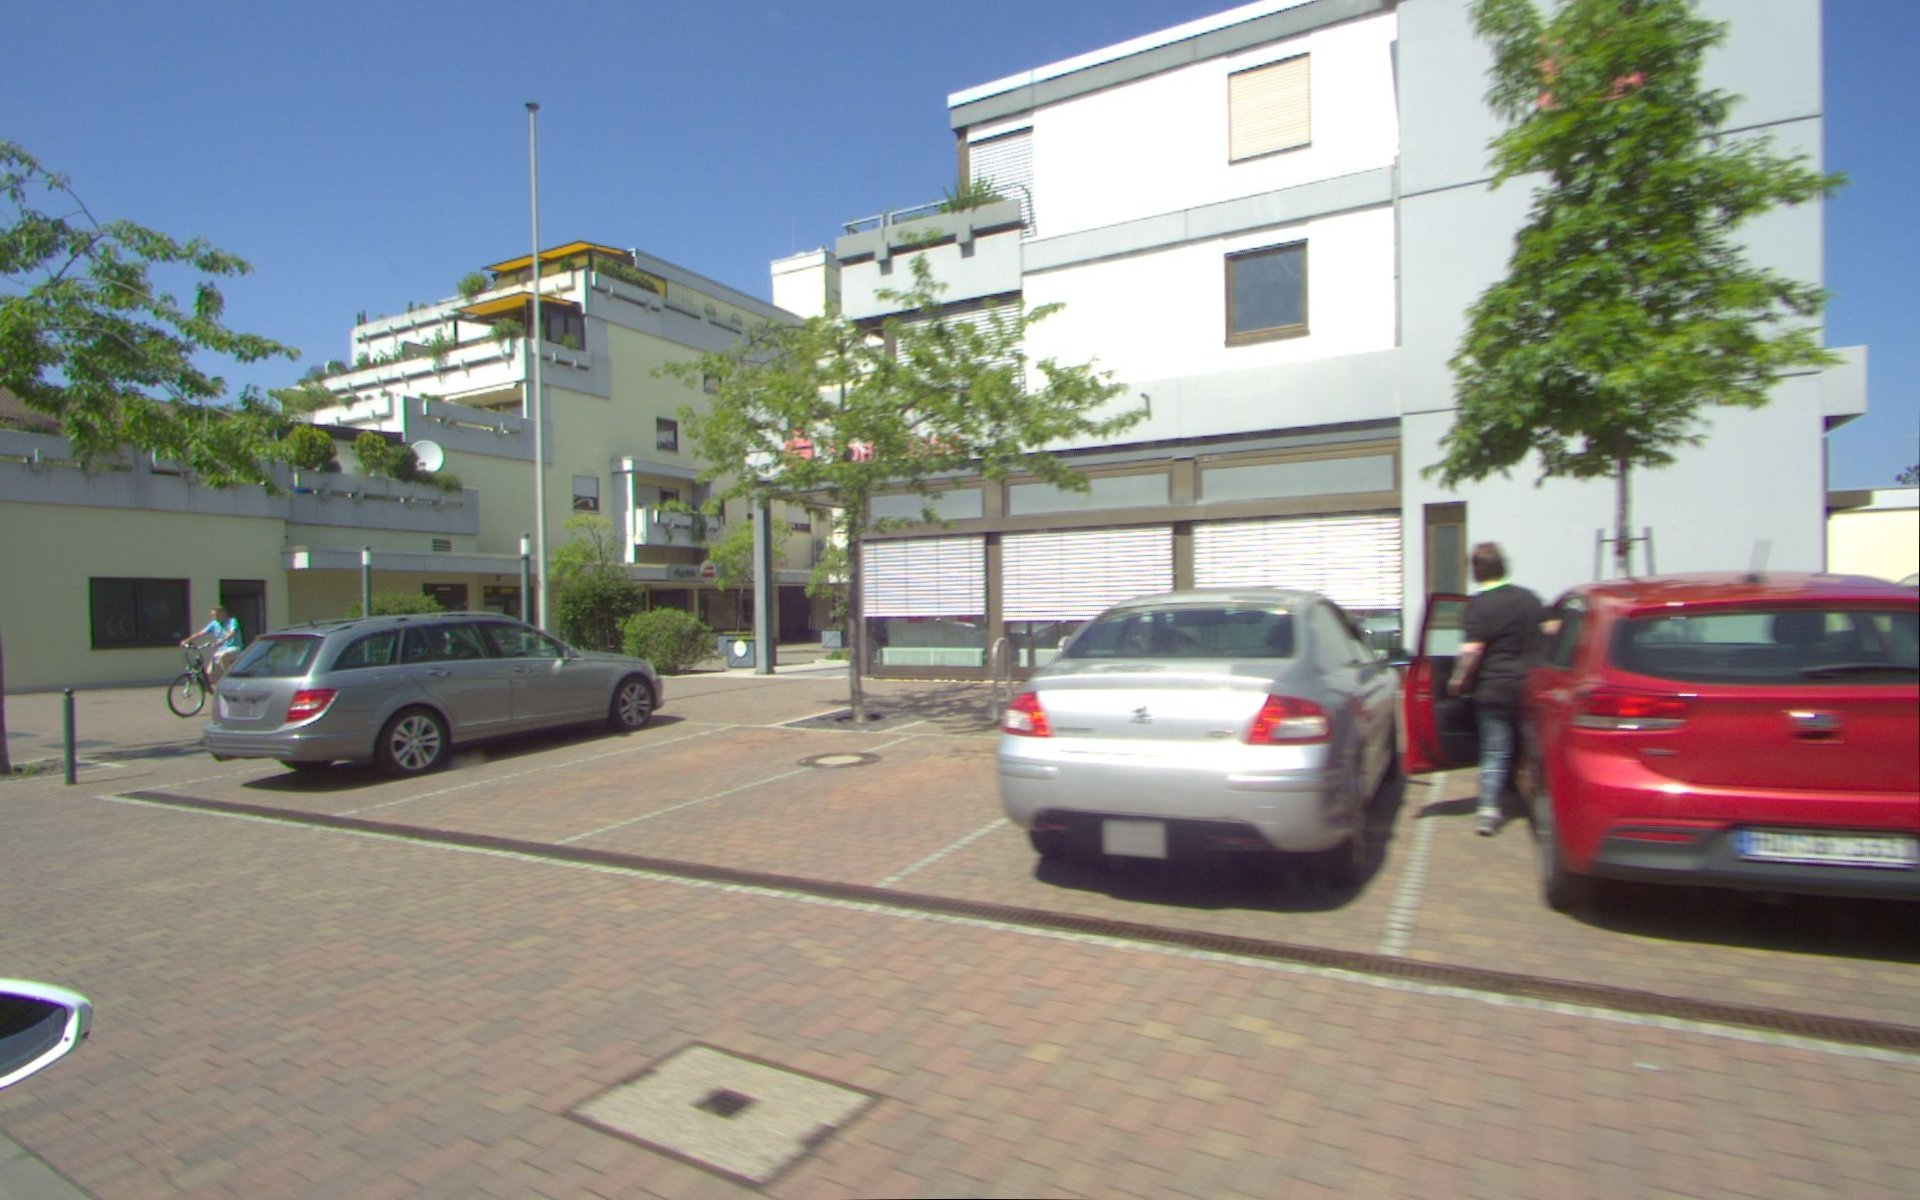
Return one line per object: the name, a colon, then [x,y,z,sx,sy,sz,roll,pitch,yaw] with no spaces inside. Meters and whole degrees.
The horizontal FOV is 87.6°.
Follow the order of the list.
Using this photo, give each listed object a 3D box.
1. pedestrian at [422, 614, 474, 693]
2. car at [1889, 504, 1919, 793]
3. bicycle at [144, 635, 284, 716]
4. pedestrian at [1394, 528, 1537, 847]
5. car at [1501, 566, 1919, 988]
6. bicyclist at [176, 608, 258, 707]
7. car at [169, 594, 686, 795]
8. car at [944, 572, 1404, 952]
pedestrian: [-10.339,1.064,20.221,0.792,1.541,0.700,0,0,-39]
car: [6.023,0.348,4.152,2.115,1.795,4.622,0,2,29]
bicycle: [-11.973,1.182,16.154,0.663,1.124,1.895,-1,1,6]
pedestrian: [2.972,0.478,5.930,0.688,1.740,0.748,-1,2,25]
car: [3.934,0.590,5.277,1.717,1.472,3.727,-1,1,26]
bicyclist: [-11.981,0.912,16.163,0.658,1.547,0.761,-1,2,6]
car: [-5.231,0.789,10.638,1.886,1.533,4.572,-2,1,26]
car: [1.736,0.600,6.344,1.810,1.460,4.532,-1,1,26]
